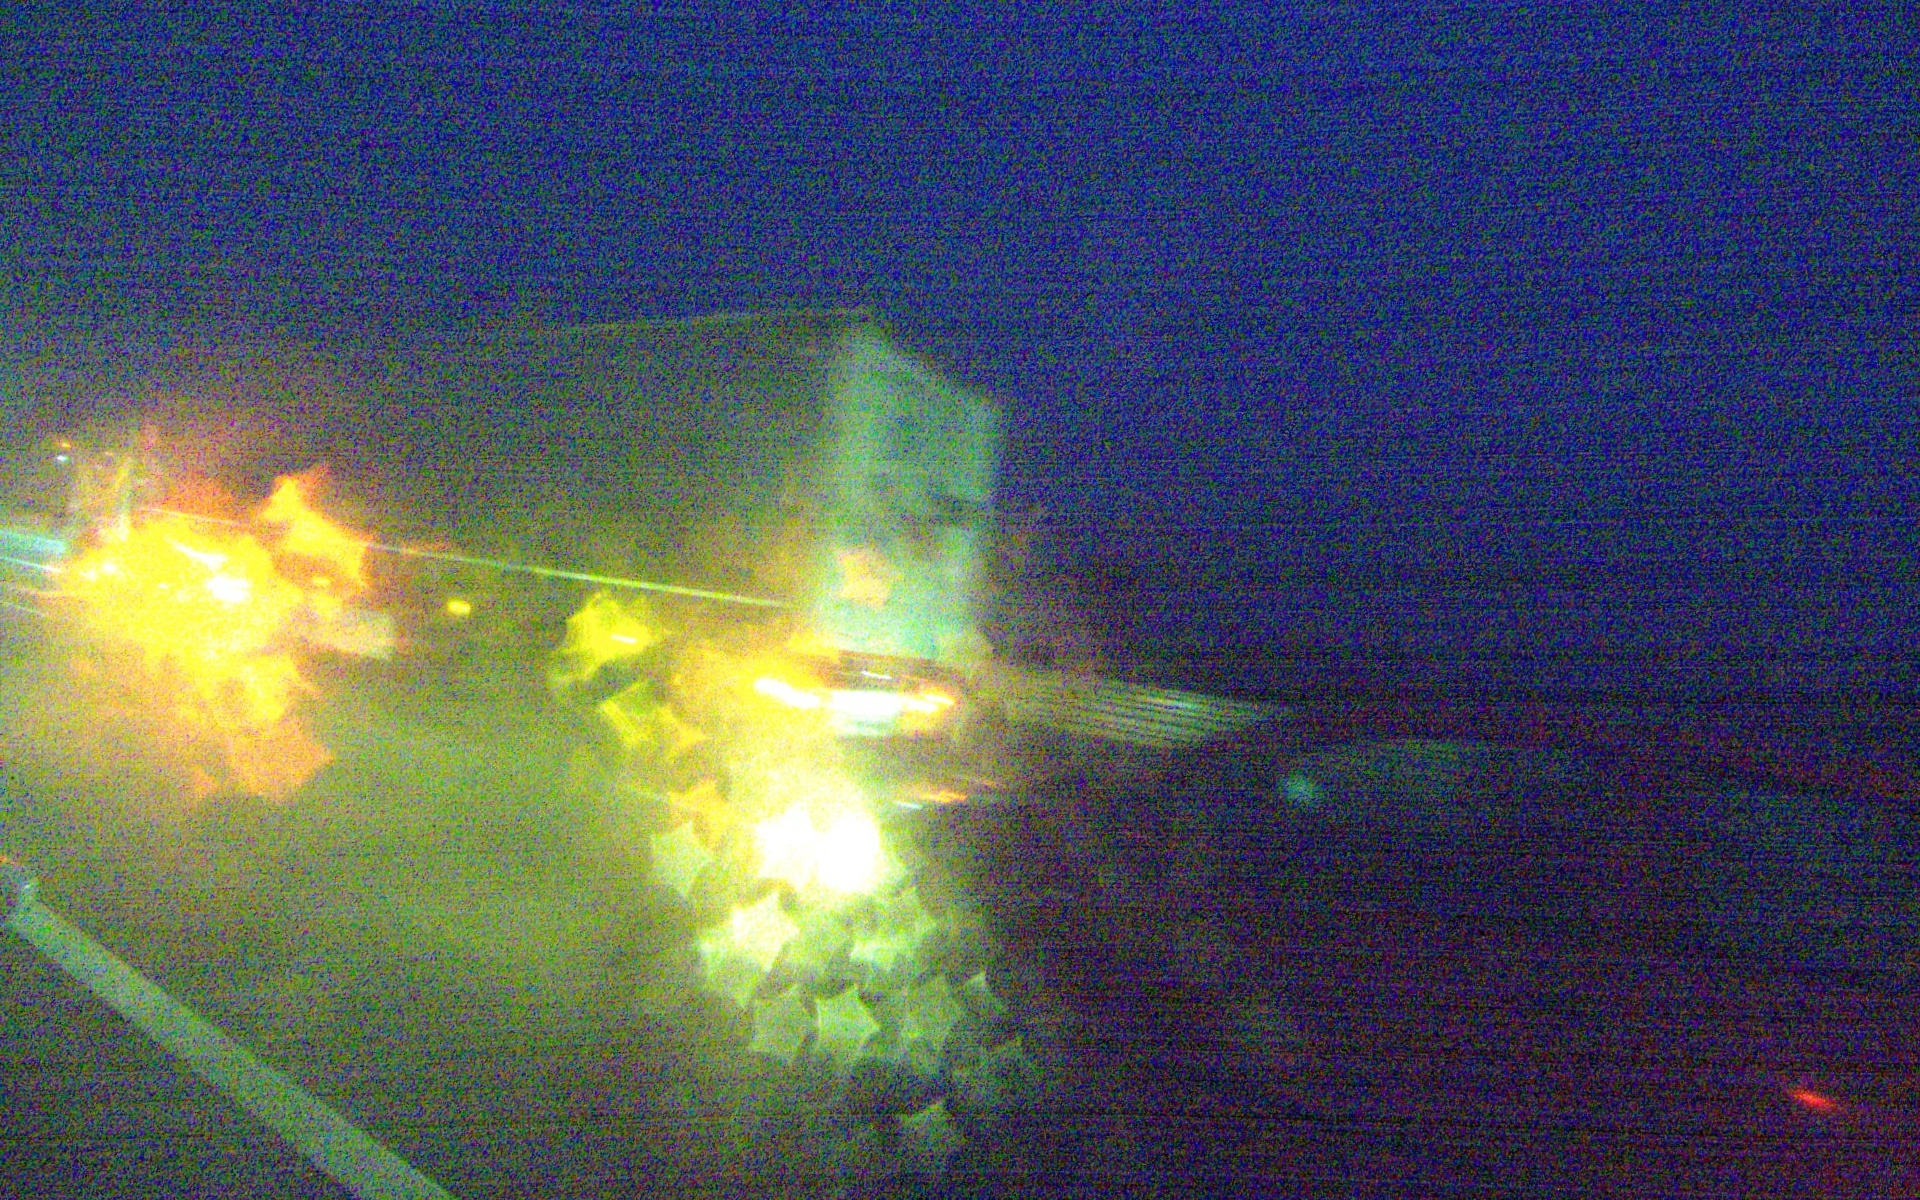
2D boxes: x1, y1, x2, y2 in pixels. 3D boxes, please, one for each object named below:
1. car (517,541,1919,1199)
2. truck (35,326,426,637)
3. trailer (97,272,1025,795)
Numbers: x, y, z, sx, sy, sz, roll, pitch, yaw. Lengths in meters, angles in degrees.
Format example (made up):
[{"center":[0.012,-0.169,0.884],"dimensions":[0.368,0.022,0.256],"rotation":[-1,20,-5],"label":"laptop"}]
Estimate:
[{"center":[0.701,0.847,3.463],"dimensions":[4.419,1.594,1.743],"rotation":[6,-1,31],"label":"car"},{"center":[-12.015,-1.859,16.472],"dimensions":[5.930,4.161,2.905],"rotation":[7,1,32],"label":"truck"},{"center":[-6.315,-1.149,12.955],"dimensions":[14.246,4.161,2.905],"rotation":[7,1,32],"label":"trailer"}]
